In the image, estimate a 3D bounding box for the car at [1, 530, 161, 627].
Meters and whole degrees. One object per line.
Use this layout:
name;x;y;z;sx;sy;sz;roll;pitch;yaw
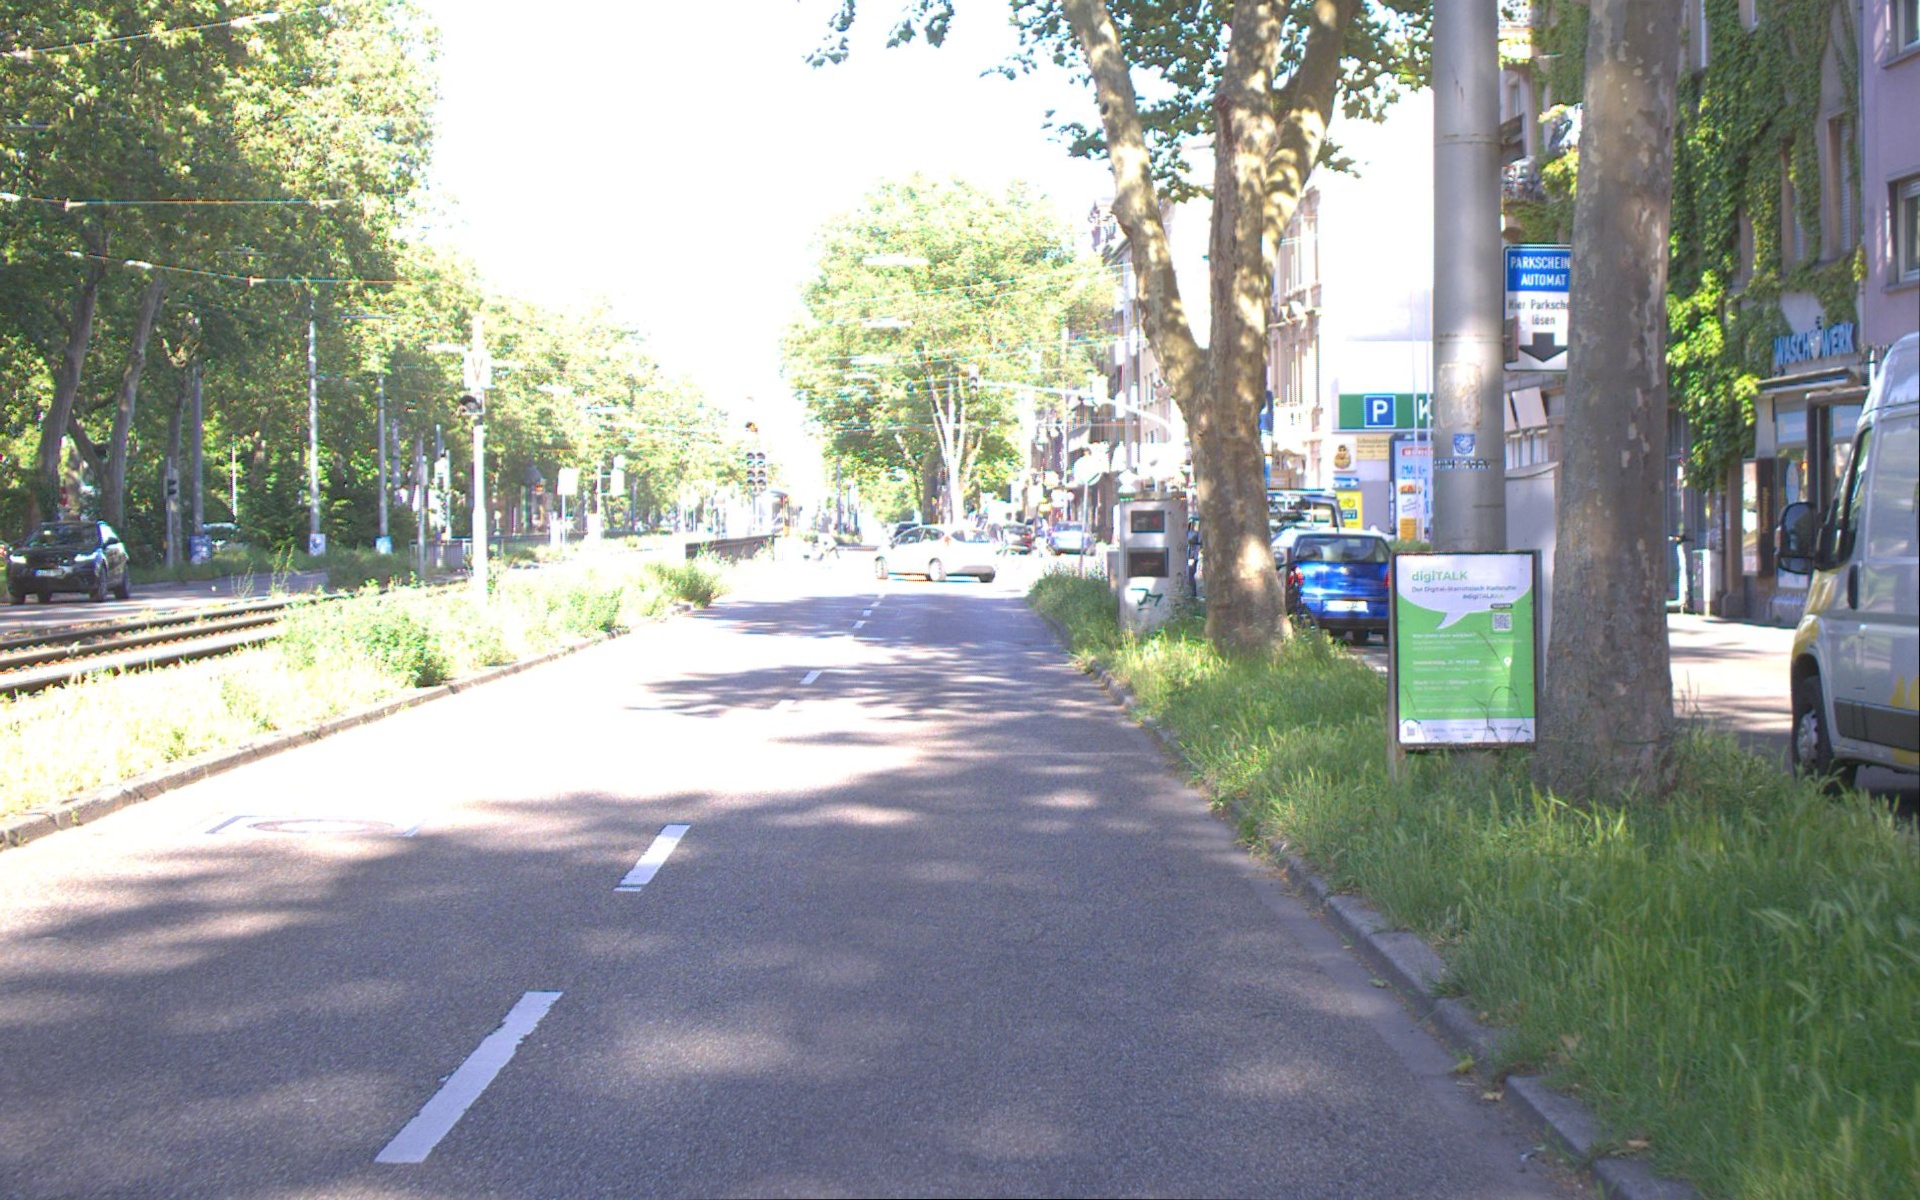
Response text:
car;-18.184;-0.478;71.348;1.993;1.864;4.873;-2;1;0

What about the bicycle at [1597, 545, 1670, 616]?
bicycle;11.134;-0.339;56.903;0.887;1.130;2.398;0;1;3

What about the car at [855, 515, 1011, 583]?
car;-0.711;-1.306;86.973;2.022;1.656;4.000;-1;1;-35

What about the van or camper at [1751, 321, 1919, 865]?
van or camper;5.464;-0.014;15.973;2.184;2.472;6.268;2;1;1

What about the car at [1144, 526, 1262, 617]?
car;4.160;-0.517;59.311;1.683;1.504;3.668;1;1;-1

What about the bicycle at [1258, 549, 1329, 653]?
bicycle;3.292;0.002;34.016;0.588;0.987;1.450;0;1;1

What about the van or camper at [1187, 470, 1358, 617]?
van or camper;4.393;-0.813;49.022;1.839;1.956;5.127;1;1;-1

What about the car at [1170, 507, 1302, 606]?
car;4.309;-0.710;54.061;1.683;1.504;3.668;0;1;-1

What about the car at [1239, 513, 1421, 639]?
car;4.641;-0.324;43.593;1.683;1.508;3.668;1;1;-4

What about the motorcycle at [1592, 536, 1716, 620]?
motorcycle;11.053;-0.358;54.804;0.557;1.264;1.894;2;1;-45

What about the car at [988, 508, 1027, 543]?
car;2.080;-3.279;152.225;1.683;1.504;3.667;1;1;1

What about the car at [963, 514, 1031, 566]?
car;1.186;-1.974;112.007;2.021;1.656;4.001;0;1;-2
